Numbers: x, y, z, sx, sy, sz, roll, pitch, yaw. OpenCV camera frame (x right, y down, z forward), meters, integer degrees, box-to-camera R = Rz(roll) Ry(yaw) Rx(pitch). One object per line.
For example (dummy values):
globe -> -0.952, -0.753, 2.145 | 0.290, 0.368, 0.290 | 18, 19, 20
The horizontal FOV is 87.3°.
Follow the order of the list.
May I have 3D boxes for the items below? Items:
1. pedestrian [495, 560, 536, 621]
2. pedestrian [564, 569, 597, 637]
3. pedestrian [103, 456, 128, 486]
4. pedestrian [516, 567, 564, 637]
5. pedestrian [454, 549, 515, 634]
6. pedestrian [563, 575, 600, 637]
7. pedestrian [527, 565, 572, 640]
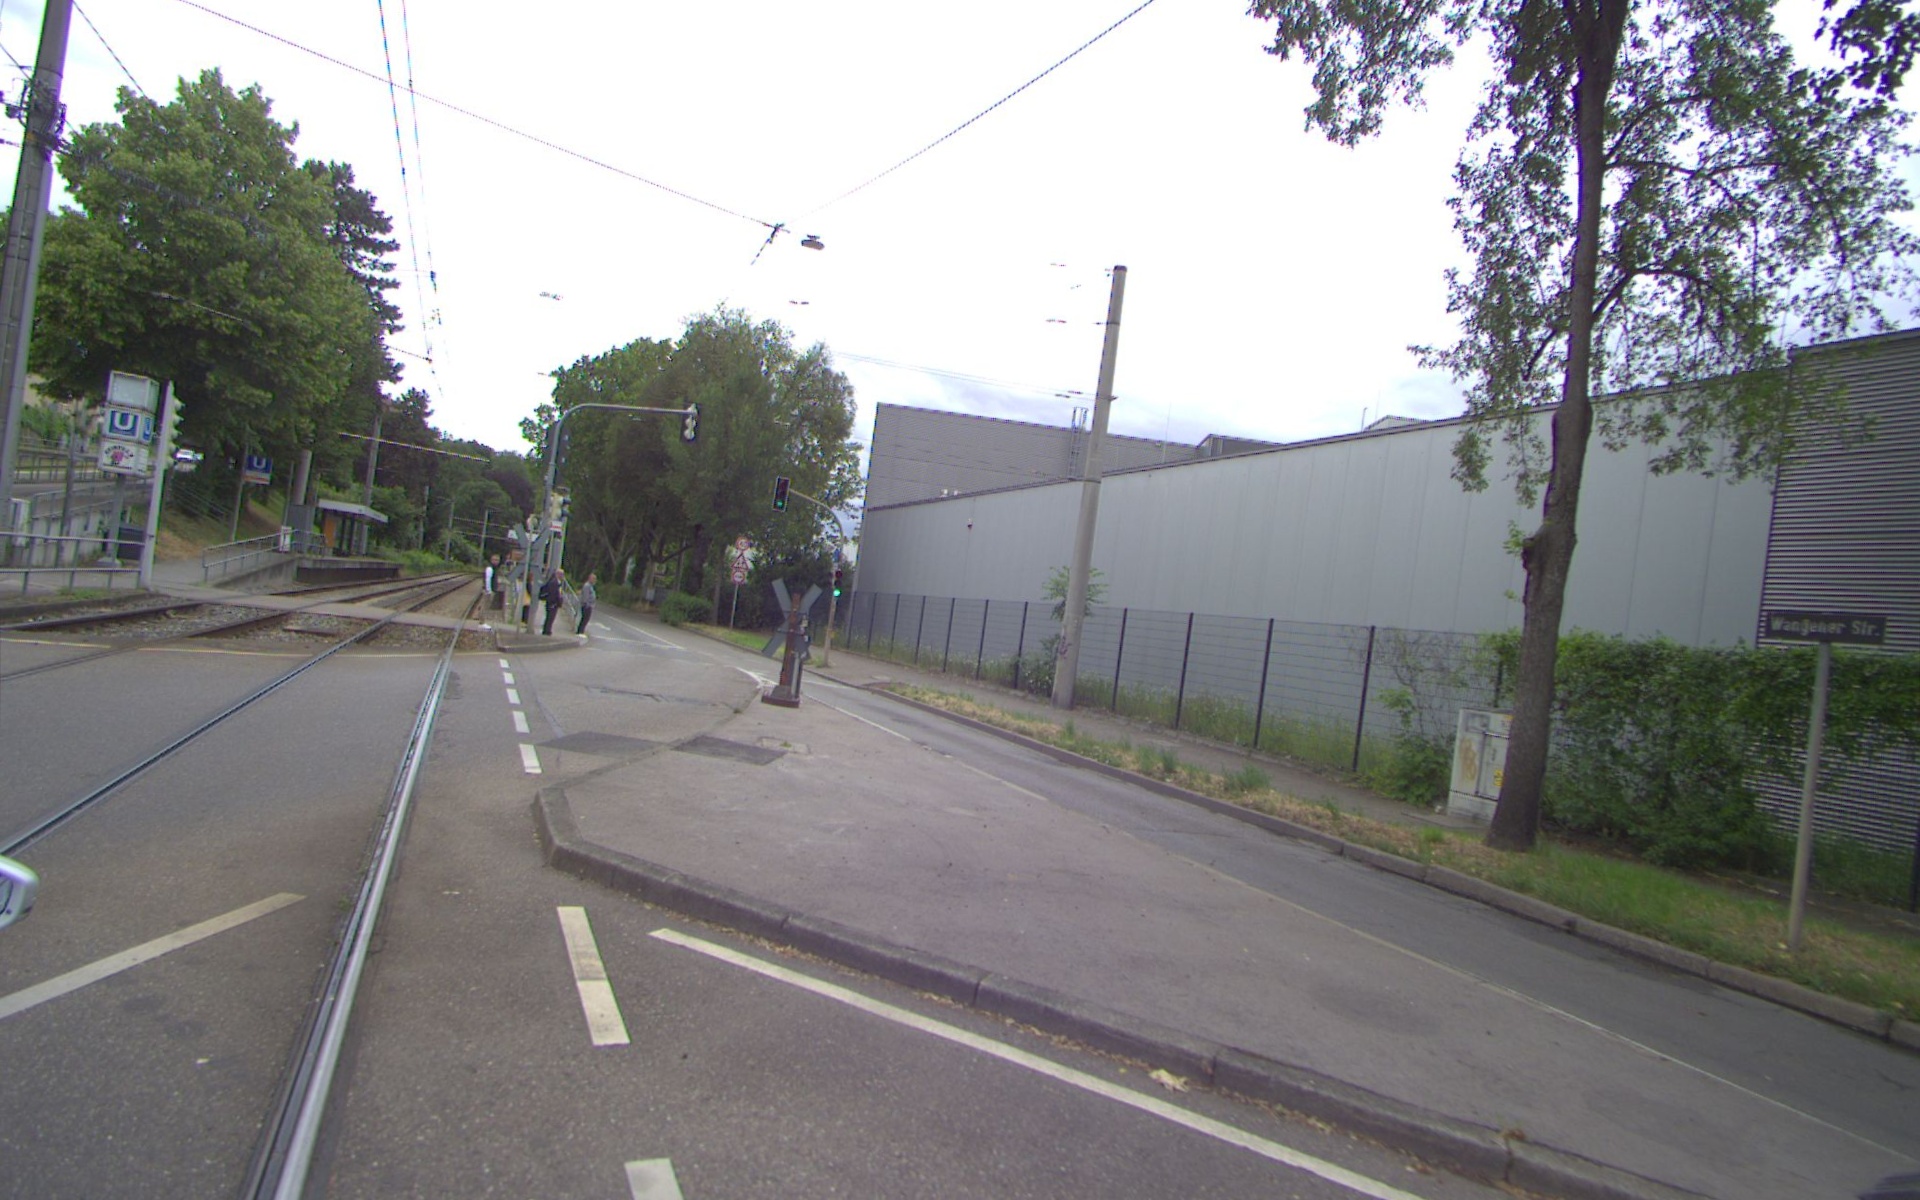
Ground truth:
pedestrian -> -13.217, -0.283, 29.906 | 0.732, 1.682, 0.675 | 12, -3, -36
pedestrian -> -10.622, 0.082, 28.171 | 0.544, 1.777, 0.734 | 11, -2, -21
pedestrian -> -45.370, -6.915, 54.069 | 0.739, 1.425, 0.739 | 12, 1, -33
pedestrian -> -10.984, 0.054, 26.312 | 0.678, 1.682, 0.728 | 12, -3, -43
pedestrian -> -11.355, -0.200, 24.041 | 0.659, 1.840, 0.805 | 9, -3, 30
pedestrian -> -10.876, 0.173, 28.948 | 0.672, 1.682, 0.735 | 11, -2, -18
pedestrian -> -9.925, 0.052, 24.319 | 0.729, 1.682, 0.678 | 11, -2, -24
